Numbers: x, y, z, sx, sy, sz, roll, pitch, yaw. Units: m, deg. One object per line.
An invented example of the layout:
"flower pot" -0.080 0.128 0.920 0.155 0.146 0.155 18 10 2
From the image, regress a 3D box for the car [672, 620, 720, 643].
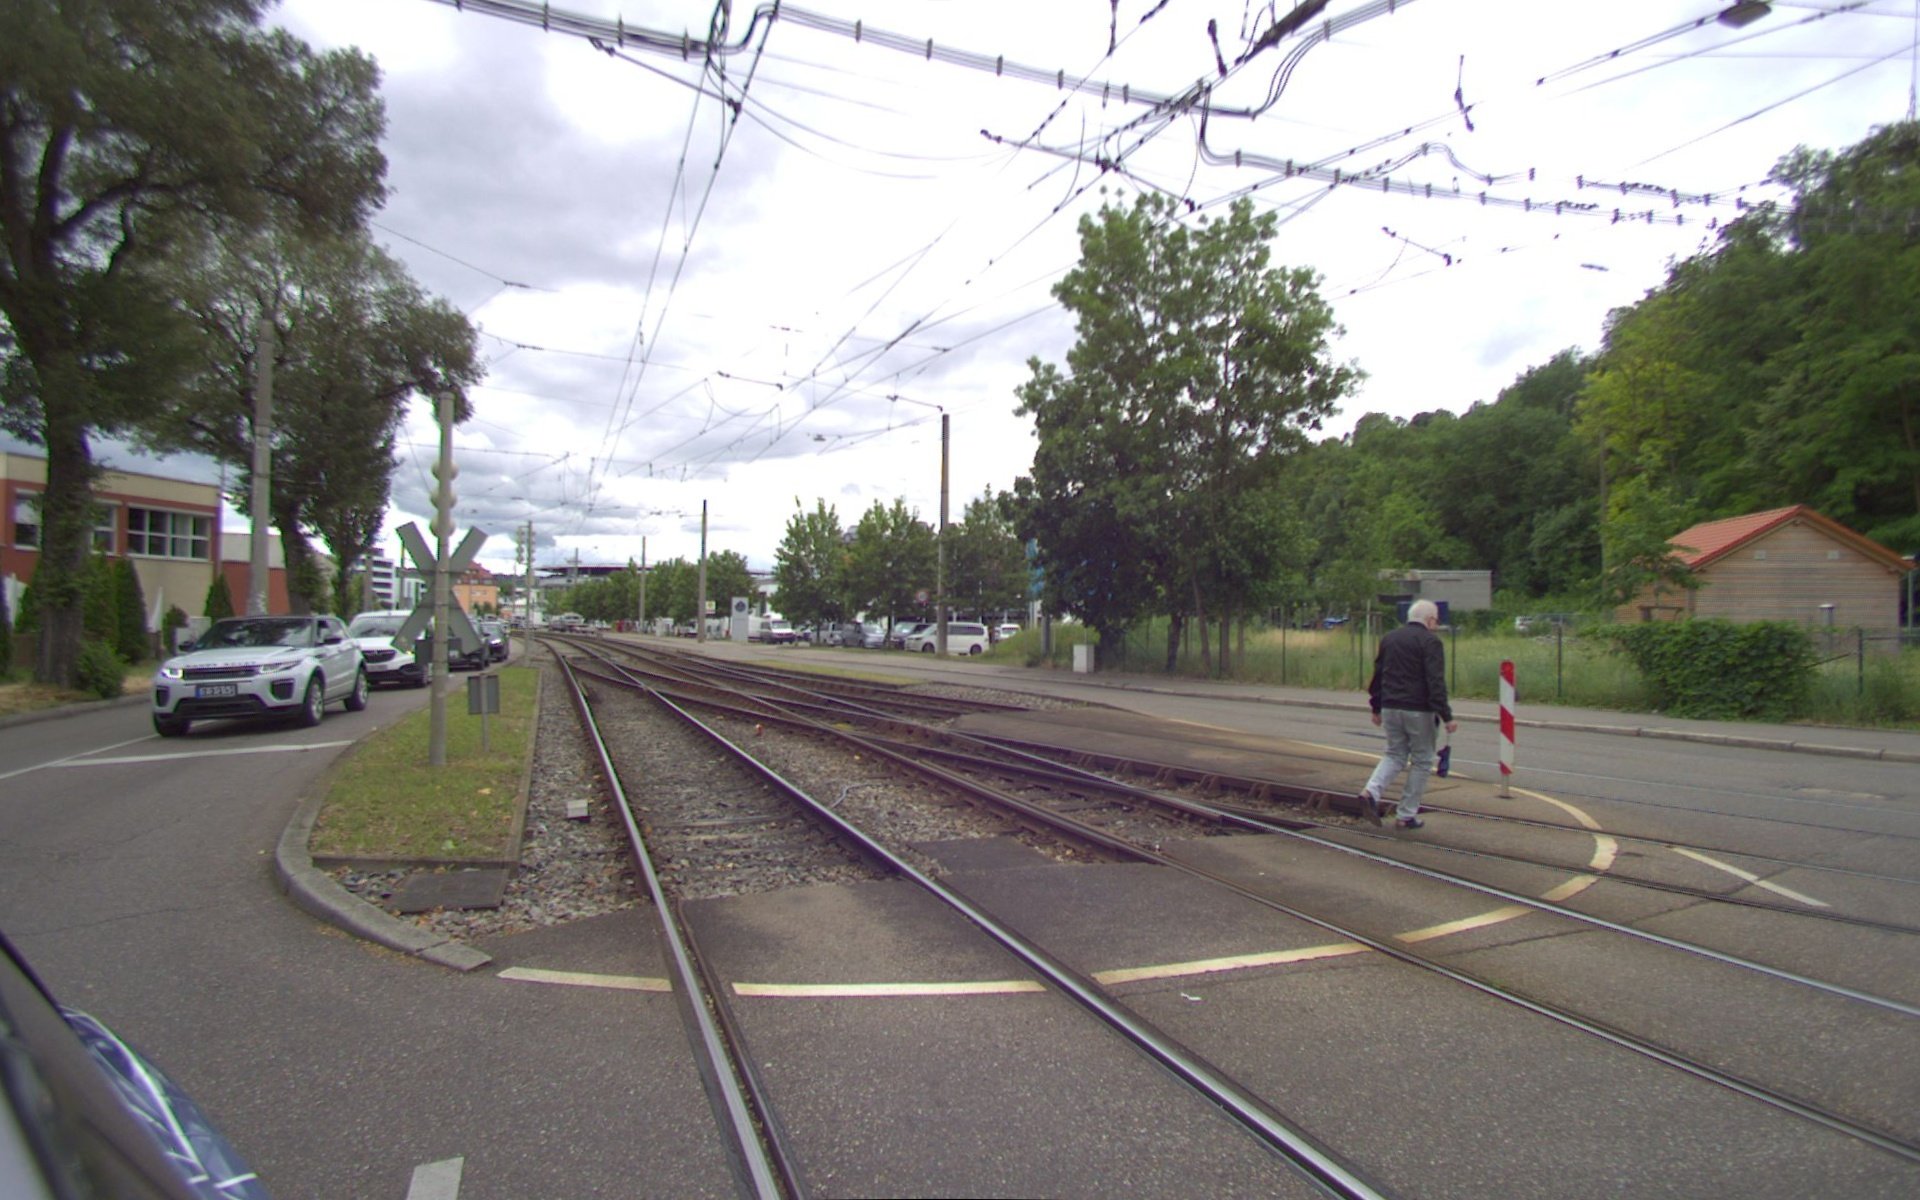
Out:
"car" -28.262 3.355 108.478 4.560 2.225 2.115 -2 0 -29

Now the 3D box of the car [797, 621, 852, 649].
"car" -14.286 3.629 106.812 2.316 2.642 5.977 -2 0 34

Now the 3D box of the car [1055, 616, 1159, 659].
"car" 8.712 2.229 60.353 5.782 2.284 2.053 -2 0 1

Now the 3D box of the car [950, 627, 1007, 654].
"car" 1.389 3.131 78.137 4.175 1.850 1.981 -2 0 -2

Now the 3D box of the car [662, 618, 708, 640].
"car" -30.765 3.201 113.134 4.560 2.225 2.115 -2 0 -29

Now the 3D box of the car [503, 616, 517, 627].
"car" -80.960 3.860 182.071 1.966 2.029 4.013 -2 0 -28

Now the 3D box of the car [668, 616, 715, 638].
"car" -29.354 2.947 110.694 4.560 2.225 2.115 -2 0 -29

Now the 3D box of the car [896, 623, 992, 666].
"car" -0.947 2.581 59.688 5.181 2.284 2.007 -2 0 -24

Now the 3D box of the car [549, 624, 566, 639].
"car" -52.686 4.071 132.408 1.873 1.731 4.150 -1 1 -23

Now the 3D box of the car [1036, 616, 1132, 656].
"car" 7.791 2.269 64.033 5.771 2.284 2.053 -2 0 1

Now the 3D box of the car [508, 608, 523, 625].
"car" -83.145 3.055 189.299 2.370 2.970 4.764 -2 0 -24

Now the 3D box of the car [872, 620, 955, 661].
"car" -2.872 2.477 62.908 4.693 2.284 1.987 -2 0 -24

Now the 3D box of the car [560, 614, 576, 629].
"car" -55.798 3.035 143.918 1.874 1.730 4.150 7 -2 -23

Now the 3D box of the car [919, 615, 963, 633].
"car" -2.234 2.816 119.258 5.155 1.850 1.980 -2 0 0

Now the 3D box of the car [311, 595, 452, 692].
"car" -13.454 0.970 23.859 1.965 2.017 5.050 0 -1 -19

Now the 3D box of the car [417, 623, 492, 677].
"car" -16.512 1.583 33.255 1.965 1.568 4.576 -1 0 -24

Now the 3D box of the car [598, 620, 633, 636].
"car" -52.121 4.228 153.185 4.560 2.225 2.115 -2 0 -29

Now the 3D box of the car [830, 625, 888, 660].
"car" -6.833 2.822 68.008 2.106 2.132 4.791 -2 0 -28

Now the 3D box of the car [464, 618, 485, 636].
"car" -48.782 2.703 101.725 1.838 1.763 4.013 -2 0 -26

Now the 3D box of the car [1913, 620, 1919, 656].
"car" 38.173 1.477 37.839 1.736 1.388 3.675 -2 0 6

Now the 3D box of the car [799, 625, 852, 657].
"car" -9.789 2.957 73.583 2.106 2.132 4.791 -2 0 -30

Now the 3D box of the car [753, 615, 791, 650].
"car" -17.464 2.989 93.748 2.281 3.034 6.178 -2 0 -22

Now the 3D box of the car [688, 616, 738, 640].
"car" -25.443 2.895 104.107 4.560 2.225 2.115 -2 0 -29

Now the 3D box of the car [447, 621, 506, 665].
"car" -19.123 1.661 40.196 1.965 1.568 4.576 -1 0 -24

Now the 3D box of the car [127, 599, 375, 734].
"car" -10.303 0.888 15.127 1.965 1.703 4.282 0 -1 -20

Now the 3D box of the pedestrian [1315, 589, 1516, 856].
"pedestrian" 3.339 0.826 7.435 1.102 1.773 0.816 -2 -1 -31

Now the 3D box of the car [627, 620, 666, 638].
"car" -41.767 3.816 134.782 4.560 2.225 2.115 -2 0 -29

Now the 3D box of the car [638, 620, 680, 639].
"car" -37.348 3.638 125.717 4.560 2.225 2.115 -2 0 -29
